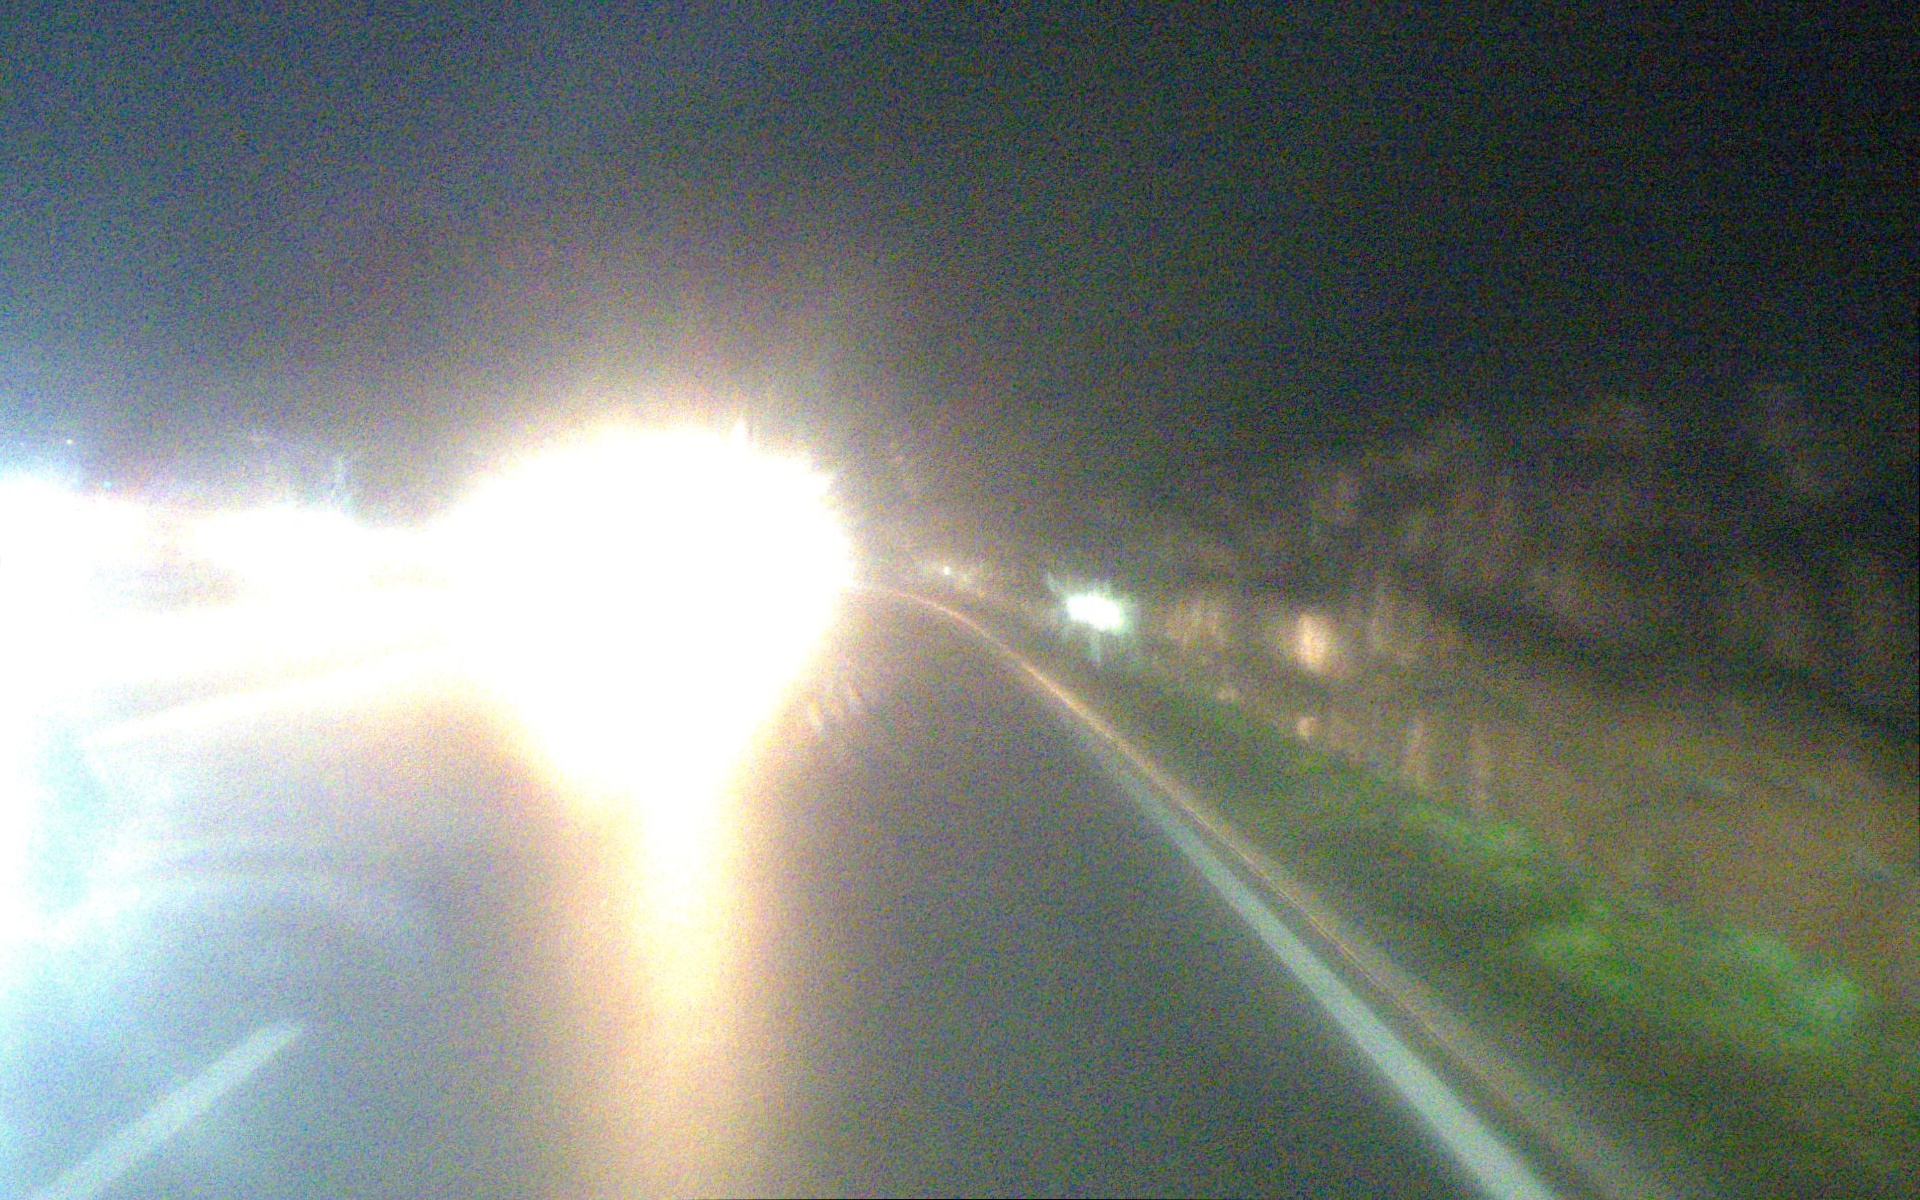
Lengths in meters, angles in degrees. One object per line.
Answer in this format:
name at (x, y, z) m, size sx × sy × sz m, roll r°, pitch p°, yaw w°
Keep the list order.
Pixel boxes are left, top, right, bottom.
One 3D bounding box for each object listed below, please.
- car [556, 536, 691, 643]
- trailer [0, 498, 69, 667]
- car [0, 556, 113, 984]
car at (-5.298, -0.173, 54.458) m, size 1.827 × 1.612 × 3.729 m, roll 1°, pitch 1°, yaw -1°
trailer at (-28.754, -0.516, 98.059) m, size 3.327 × 4.780 × 11.555 m, roll 1°, pitch 1°, yaw 2°
car at (-4.153, 0.577, 11.360) m, size 1.867 × 1.438 × 4.465 m, roll 0°, pitch 1°, yaw -4°
